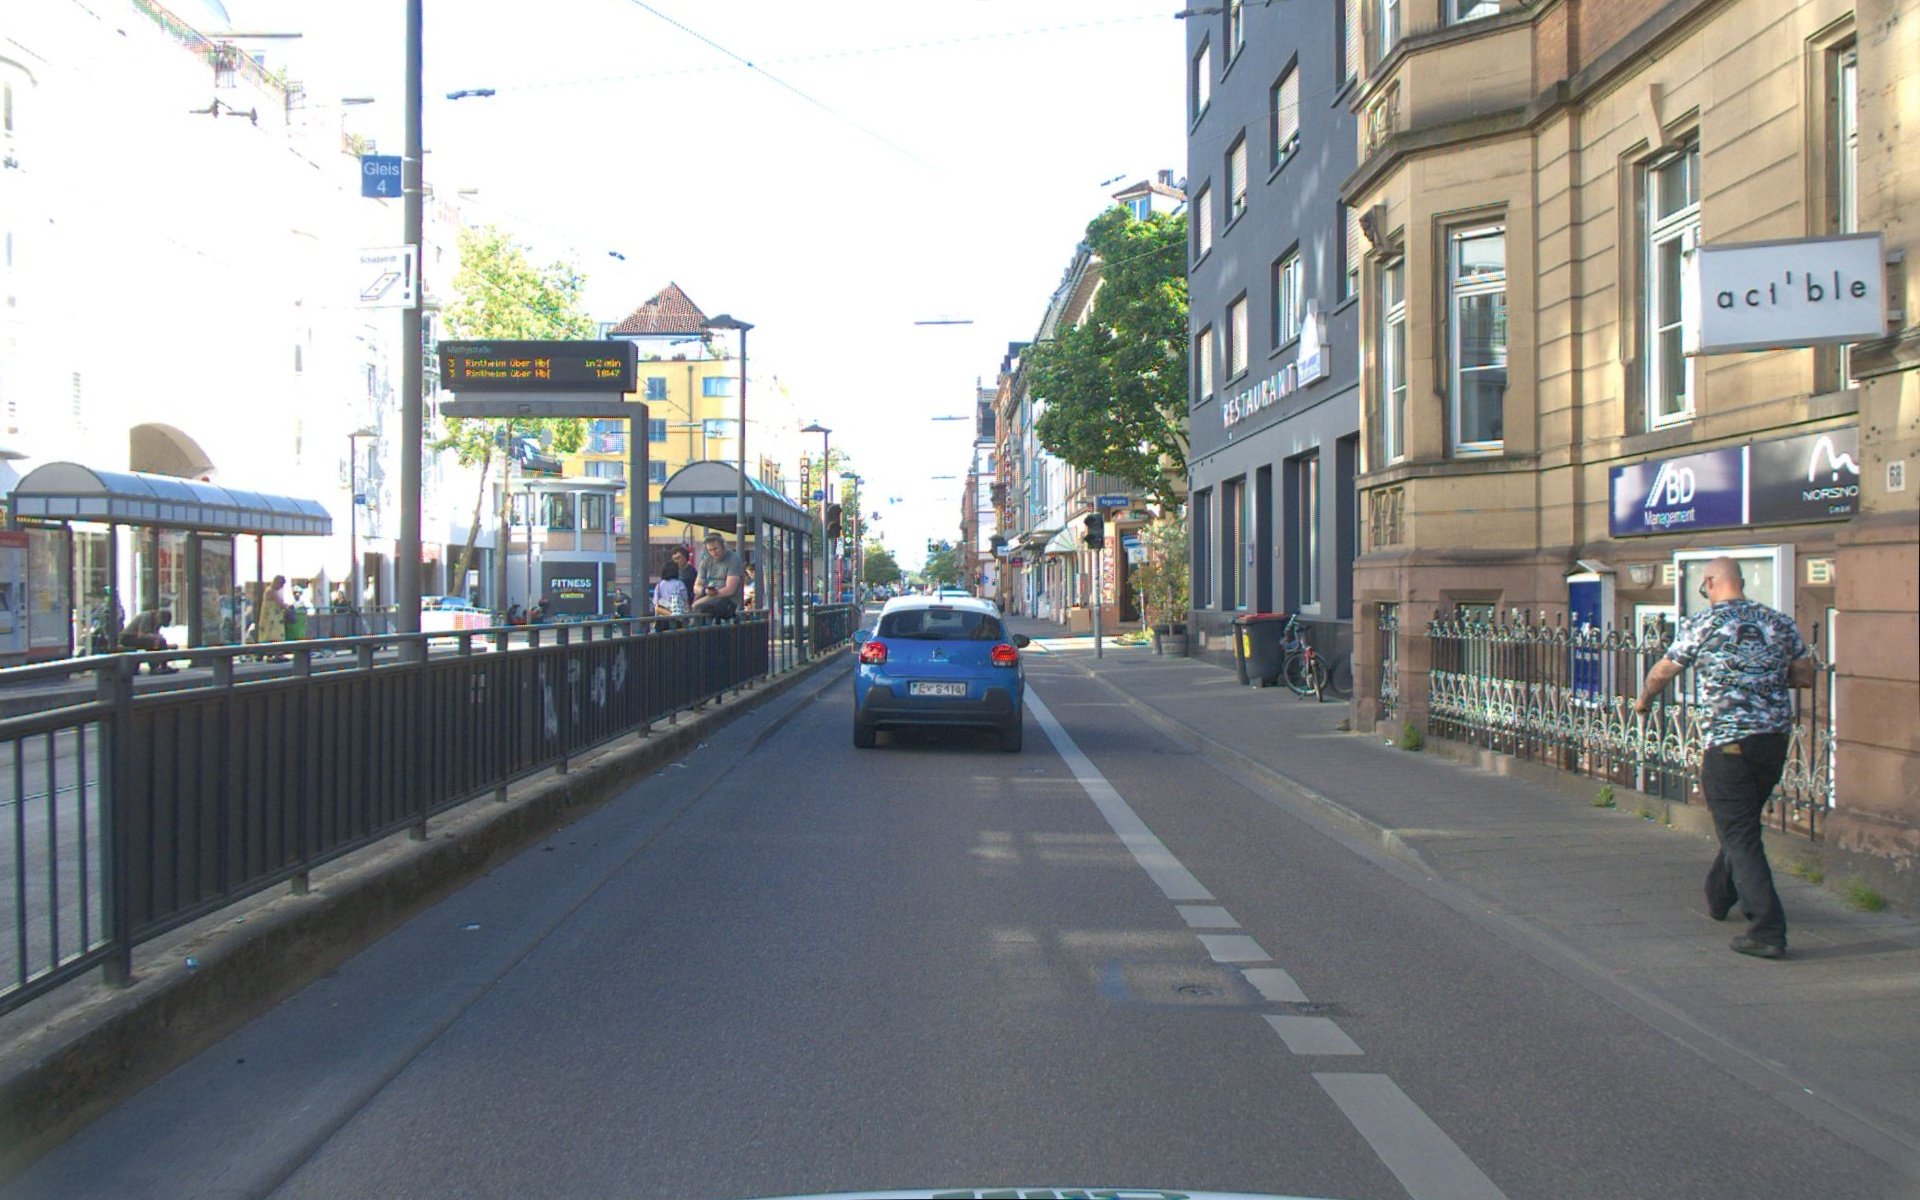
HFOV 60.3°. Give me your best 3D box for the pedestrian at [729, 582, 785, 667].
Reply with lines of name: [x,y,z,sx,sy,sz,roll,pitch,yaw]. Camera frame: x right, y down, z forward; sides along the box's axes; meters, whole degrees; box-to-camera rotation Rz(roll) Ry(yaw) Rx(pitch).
pedestrian: [-3.161,0.370,25.765,0.749,1.294,0.719,0,1,1]

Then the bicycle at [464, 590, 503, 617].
bicycle: [-17.446,0.108,60.578,0.384,0.957,1.490,0,1,34]

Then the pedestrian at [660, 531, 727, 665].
pedestrian: [-3.654,-0.033,22.708,0.704,1.808,0.563,0,1,35]

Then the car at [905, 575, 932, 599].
car: [-3.189,-0.993,127.071,1.953,1.773,3.999,1,0,-1]

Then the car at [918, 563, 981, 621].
car: [-0.357,-0.244,54.258,1.953,1.773,3.999,1,0,-1]

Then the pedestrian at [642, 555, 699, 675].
pedestrian: [-3.886,0.191,22.213,0.575,1.589,0.468,0,1,35]

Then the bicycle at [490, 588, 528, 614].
bicycle: [-16.973,0.023,62.260,0.384,0.957,1.490,0,1,34]

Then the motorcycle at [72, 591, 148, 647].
motorcycle: [-17.304,0.375,33.711,0.547,1.093,1.845,1,0,0]

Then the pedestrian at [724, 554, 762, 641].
pedestrian: [-3.973,-0.052,30.326,0.608,1.585,0.568,0,0,-1]

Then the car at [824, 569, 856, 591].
car: [-8.525,-1.443,117.672,1.911,1.512,4.001,-1,1,1]

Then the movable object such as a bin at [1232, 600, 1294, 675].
movable object such as a bin: [4.520,0.552,24.704,0.733,1.054,0.753,-4,1,-1]

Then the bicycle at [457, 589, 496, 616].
bicycle: [-17.783,0.095,60.854,0.384,0.957,1.490,0,1,34]

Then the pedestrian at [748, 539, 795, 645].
pedestrian: [-3.240,-0.146,28.426,0.557,1.781,0.712,-1,1,-30]

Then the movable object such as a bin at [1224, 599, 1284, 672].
movable object such as a bin: [4.517,0.540,25.462,0.733,1.054,0.753,-4,1,-1]

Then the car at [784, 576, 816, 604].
car: [-9.924,-0.669,102.740,1.718,1.643,4.825,-2,1,-3]

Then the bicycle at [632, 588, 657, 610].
bicycle: [-15.498,-0.054,81.294,0.665,1.020,2.686,0,1,0]

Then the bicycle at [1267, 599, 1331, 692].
bicycle: [4.484,0.579,21.960,0.450,1.142,1.773,-1,1,0]

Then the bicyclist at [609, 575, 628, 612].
bicyclist: [-14.738,-0.297,71.390,0.658,1.584,0.778,0,1,0]

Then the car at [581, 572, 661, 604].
car: [-18.097,-0.640,88.416,3.908,1.703,1.956,0,1,-5]

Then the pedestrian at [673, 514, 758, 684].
pedestrian: [-2.549,-0.010,17.336,0.623,1.727,0.934,1,0,6]

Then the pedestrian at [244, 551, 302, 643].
pedestrian: [-11.996,-0.064,28.888,0.716,1.586,0.743,0,1,-2]

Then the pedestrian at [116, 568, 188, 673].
pedestrian: [-12.144,0.294,24.876,0.716,1.554,0.743,0,1,-2]

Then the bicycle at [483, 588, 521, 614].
bicycle: [-17.294,0.026,62.516,0.384,0.957,1.490,0,1,34]

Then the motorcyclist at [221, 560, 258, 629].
motorcyclist: [-16.197,-0.112,37.180,0.477,1.528,0.722,1,0,0]

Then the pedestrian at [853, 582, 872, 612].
pedestrian: [-5.442,-0.157,92.295,0.829,1.683,0.691,0,1,-29]

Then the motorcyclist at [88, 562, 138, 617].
motorcyclist: [-17.265,-0.206,33.727,0.547,1.093,0.827,1,0,0]

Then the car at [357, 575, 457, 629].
car: [-15.909,0.023,47.762,1.657,1.445,3.646,0,2,0]

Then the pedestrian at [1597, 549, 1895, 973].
pedestrian: [3.540,0.668,7.552,0.764,1.780,1.093,0,2,-4]

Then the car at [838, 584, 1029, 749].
car: [-0.269,0.601,17.200,1.745,1.476,3.654,1,1,-1]

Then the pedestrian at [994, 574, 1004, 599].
pedestrian: [2.561,-0.889,108.630,0.679,1.679,0.680,0,1,-2]

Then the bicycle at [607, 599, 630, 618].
bicycle: [-14.729,0.362,71.372,0.554,0.770,1.937,0,1,0]

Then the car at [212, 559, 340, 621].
car: [-16.829,-0.290,40.860,1.657,1.445,3.646,0,2,0]

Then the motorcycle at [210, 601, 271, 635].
motorcycle: [-16.203,0.392,37.310,0.483,0.732,2.006,1,0,0]

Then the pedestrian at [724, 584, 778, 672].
pedestrian: [-3.138,0.417,24.836,0.696,1.294,0.657,0,1,1]

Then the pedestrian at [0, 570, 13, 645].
pedestrian: [-21.266,0.166,36.204,0.583,1.649,0.845,0,1,-1]
